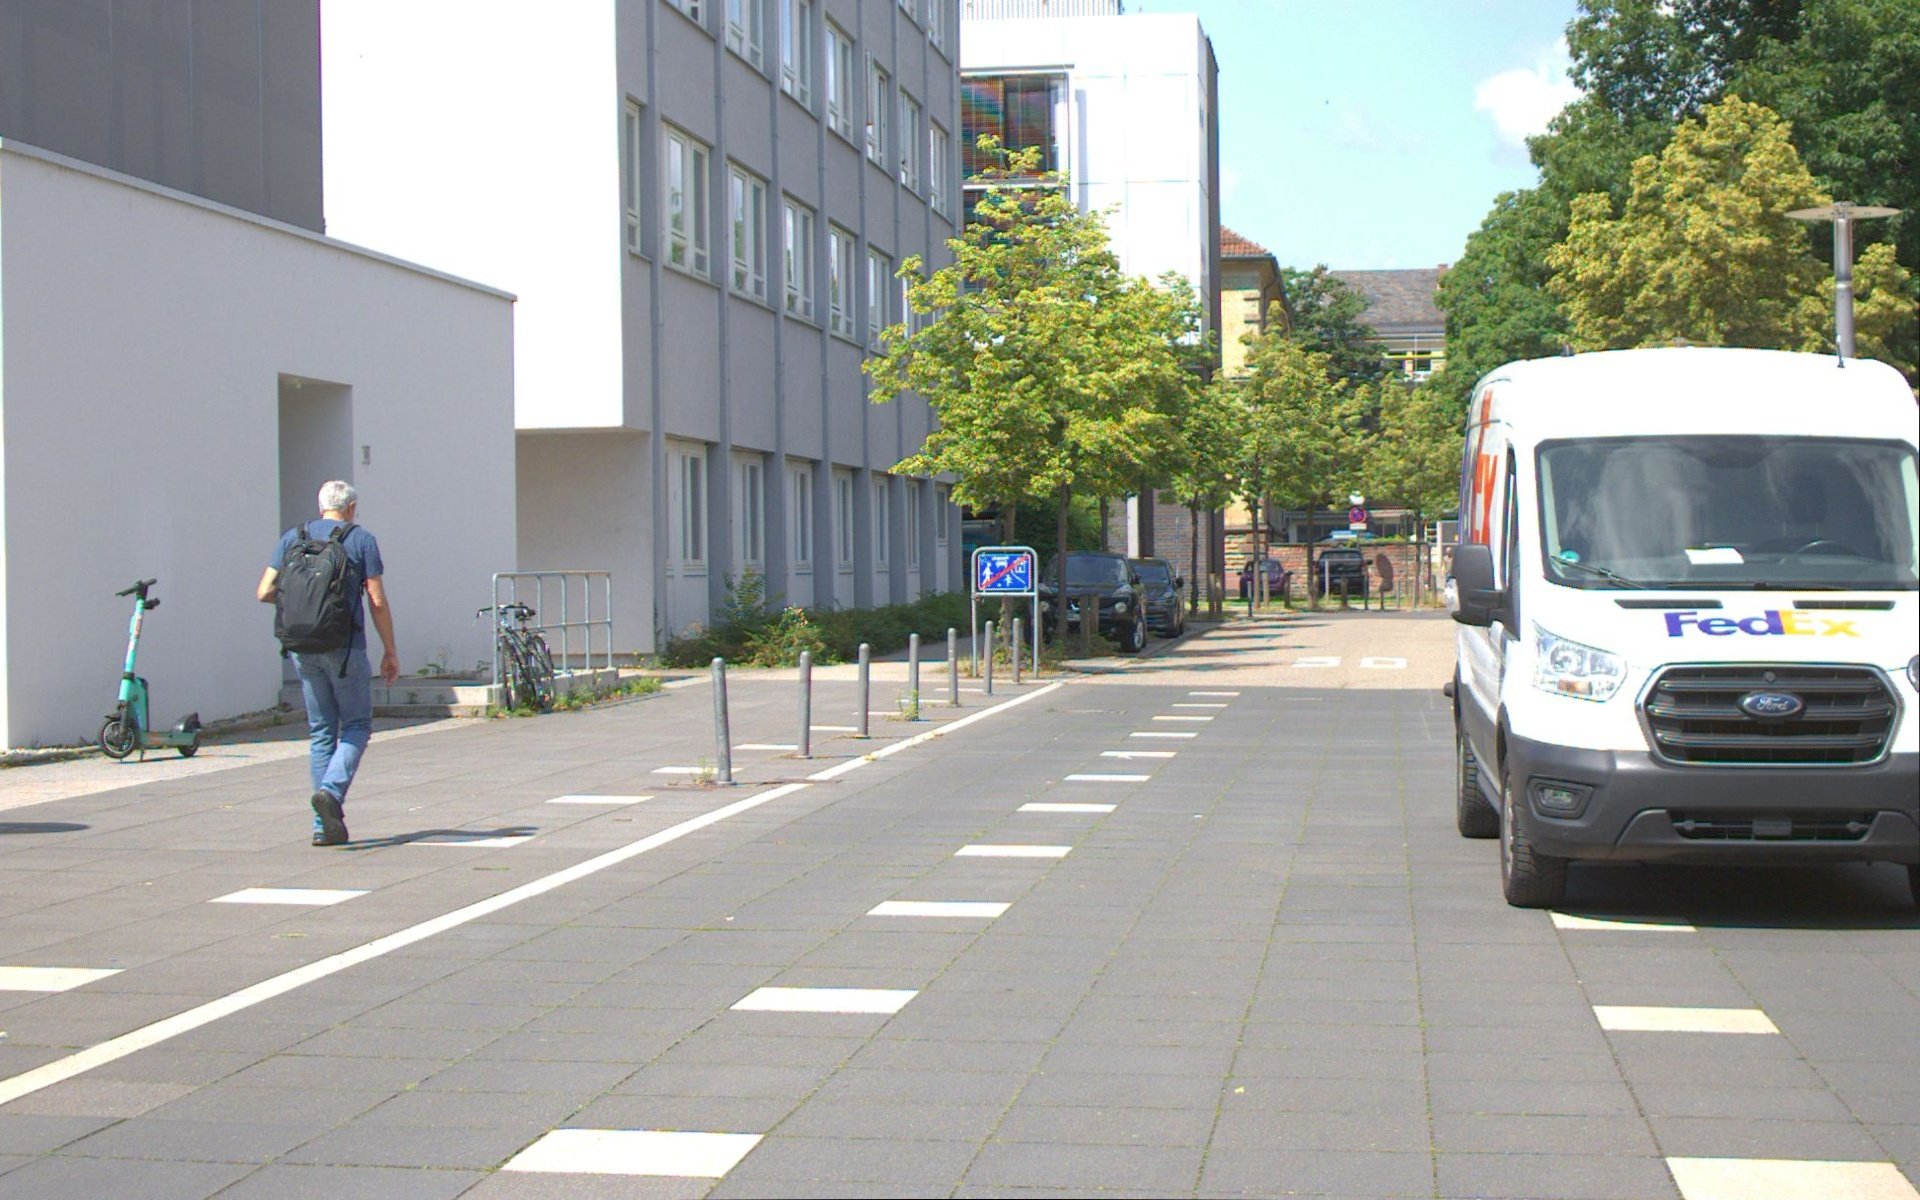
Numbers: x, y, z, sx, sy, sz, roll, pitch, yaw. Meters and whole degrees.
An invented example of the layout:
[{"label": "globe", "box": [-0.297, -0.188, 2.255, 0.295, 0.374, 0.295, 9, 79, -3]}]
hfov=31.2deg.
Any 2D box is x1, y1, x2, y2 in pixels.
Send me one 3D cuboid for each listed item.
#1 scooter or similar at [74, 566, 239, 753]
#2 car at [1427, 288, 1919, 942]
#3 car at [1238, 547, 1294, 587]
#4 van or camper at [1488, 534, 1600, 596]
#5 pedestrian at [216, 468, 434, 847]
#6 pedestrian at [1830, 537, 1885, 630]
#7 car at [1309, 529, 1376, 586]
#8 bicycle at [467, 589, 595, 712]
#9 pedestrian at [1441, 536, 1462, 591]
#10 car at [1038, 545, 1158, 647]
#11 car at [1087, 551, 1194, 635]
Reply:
[{"label": "scooter or similar", "box": [-5.617, 0.399, 24.078, 0.483, 1.259, 1.312, 0, 1, 19]}, {"label": "car", "box": [3.398, 0.020, 16.297, 2.059, 2.534, 5.849, -1, 1, 5]}, {"label": "car", "box": [10.567, -1.136, 118.562, 1.817, 1.319, 3.767, 0, 0, 6]}, {"label": "van or camper", "box": [18.580, -1.118, 109.204, 1.956, 1.916, 5.412, 1, 1, 27]}, {"label": "pedestrian", "box": [-3.130, 0.267, 17.044, 0.823, 1.811, 1.144, 0, 1, 2]}, {"label": "pedestrian", "box": [13.002, -0.240, 49.836, 0.696, 1.326, 0.715, -1, 1, 10]}, {"label": "car", "box": [13.130, -1.456, 118.254, 2.175, 1.919, 5.185, 0, 0, 5]}, {"label": "bicycle", "box": [-3.876, 0.442, 31.186, 0.543, 1.058, 1.898, 0, 1, 12]}, {"label": "pedestrian", "box": [15.789, -1.178, 110.438, 0.584, 1.758, 0.911, 0, 0, 12]}, {"label": "car", "box": [2.247, -0.090, 55.264, 1.697, 1.558, 4.067, 0, 1, 5]}, {"label": "car", "box": [3.350, -0.157, 63.358, 1.778, 1.456, 4.258, 1, 1, 5]}]
